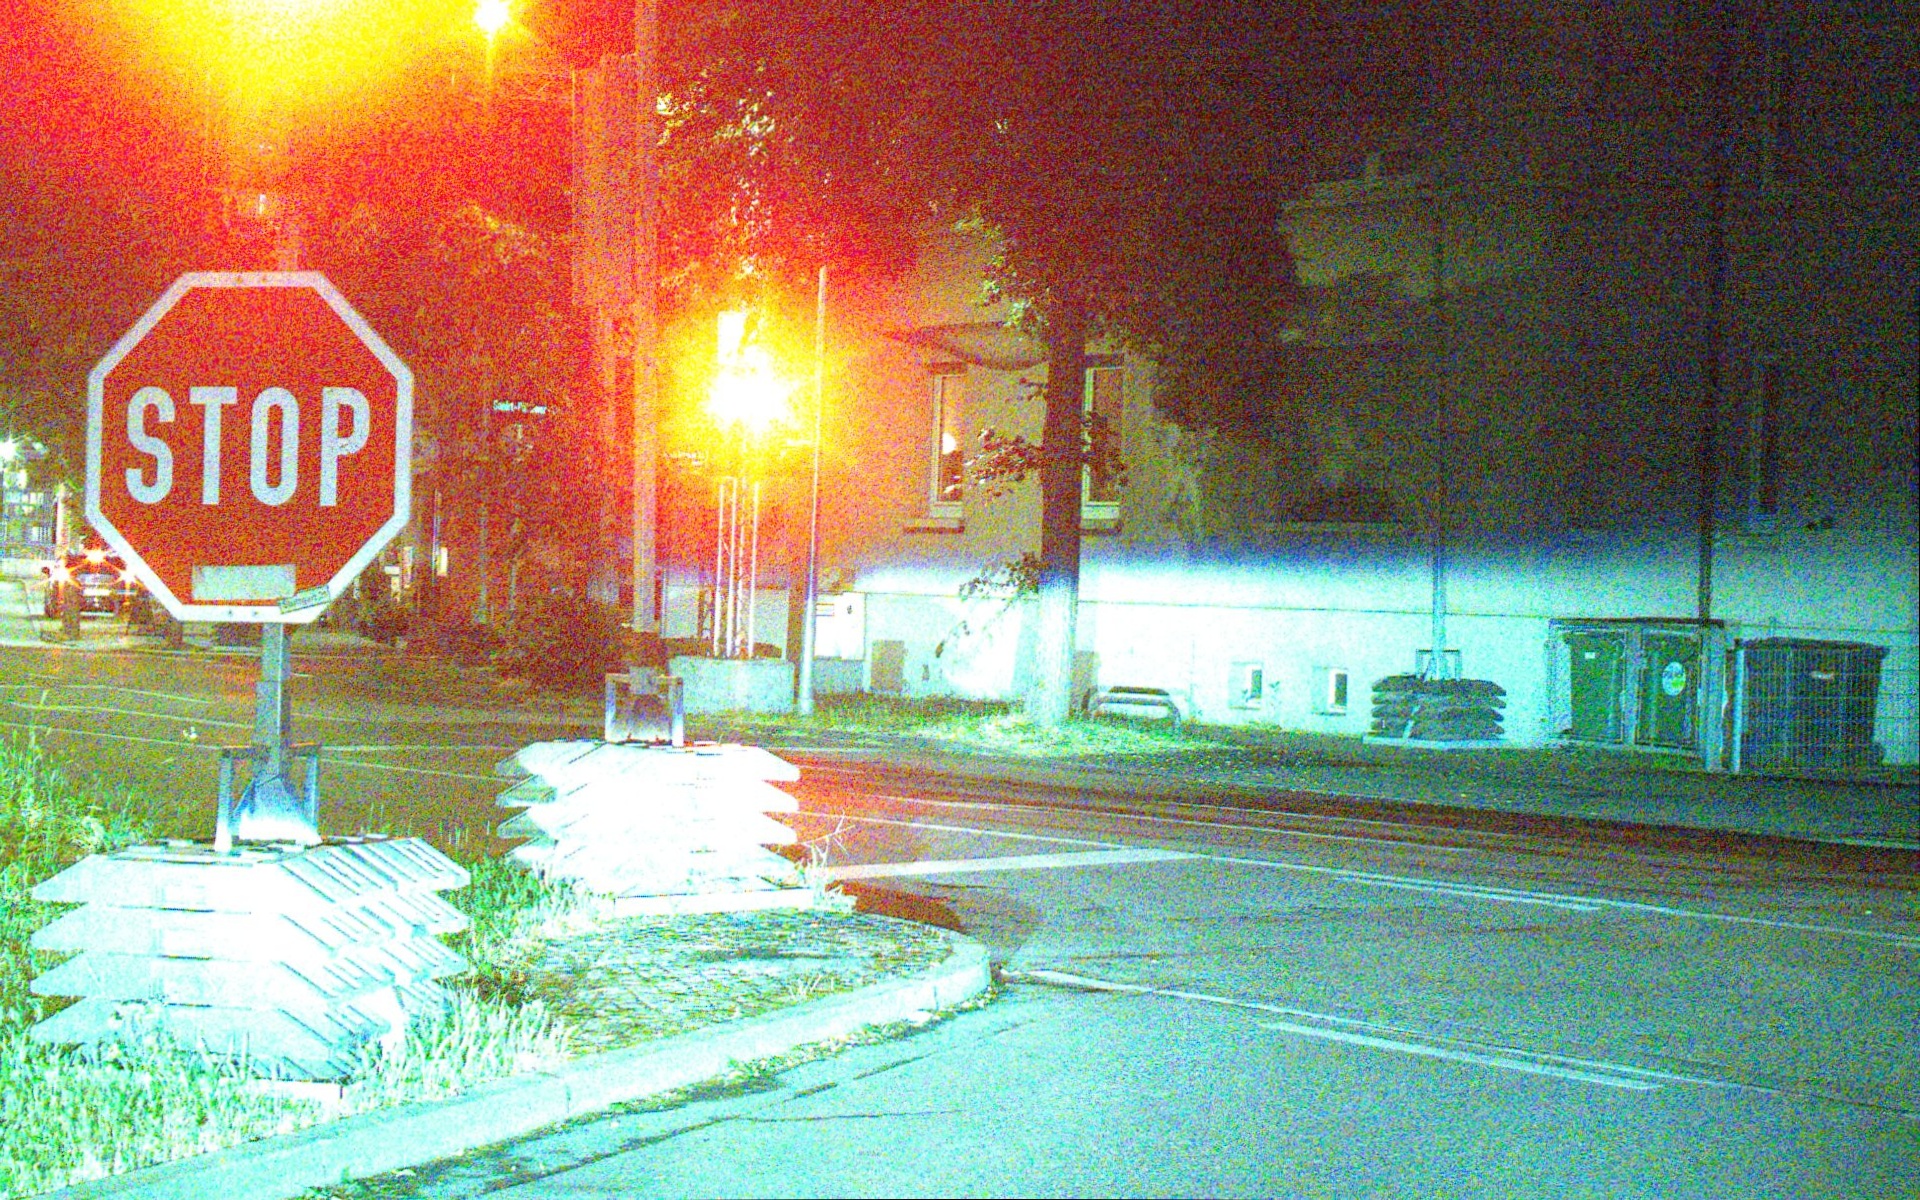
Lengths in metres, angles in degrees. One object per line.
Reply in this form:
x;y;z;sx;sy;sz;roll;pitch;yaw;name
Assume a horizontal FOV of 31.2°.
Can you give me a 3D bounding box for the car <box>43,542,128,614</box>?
-18.277;-0.479;71.897;1.651;1.426;4.001;2;1;-14;car
